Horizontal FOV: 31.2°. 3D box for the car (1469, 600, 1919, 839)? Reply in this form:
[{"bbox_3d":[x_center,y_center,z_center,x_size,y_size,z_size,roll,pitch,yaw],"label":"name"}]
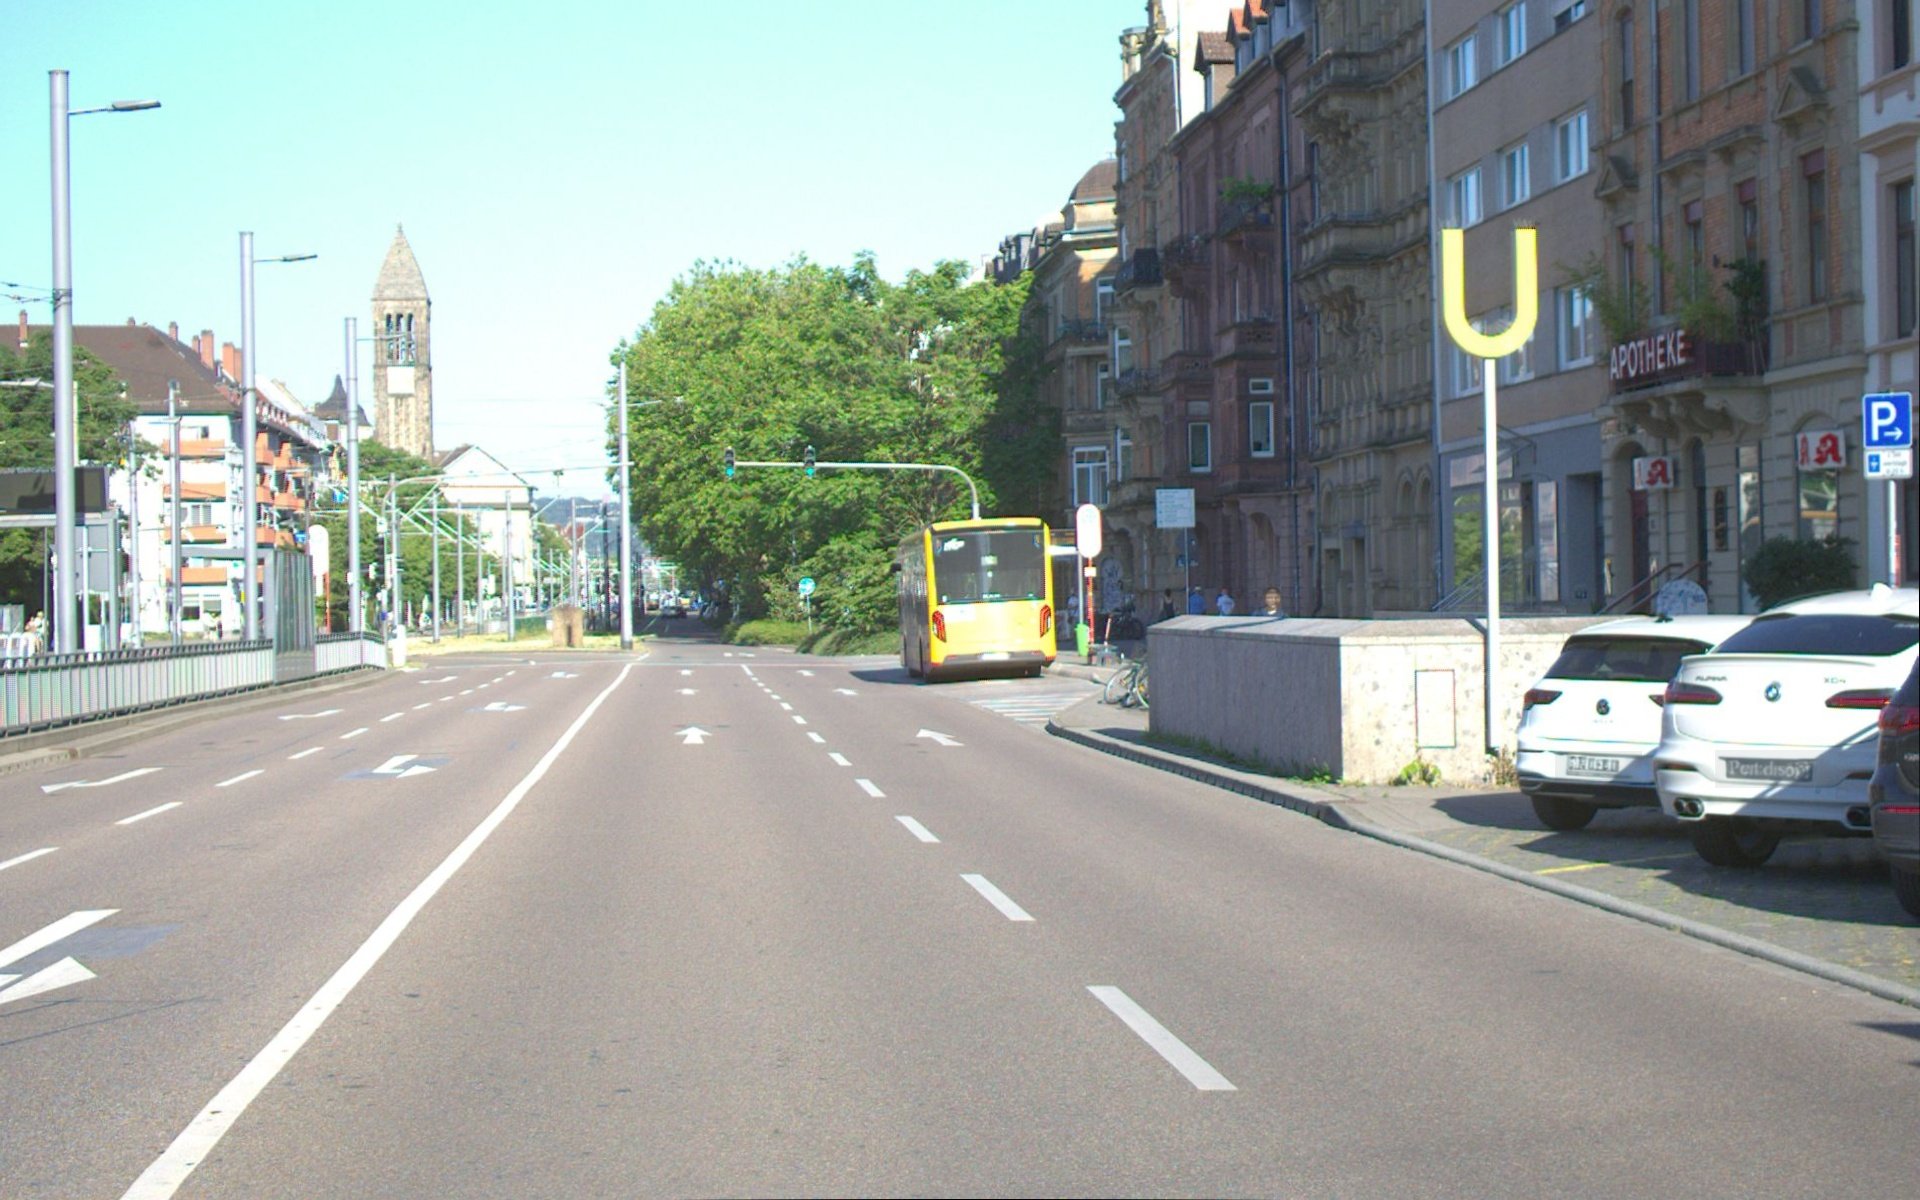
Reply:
[{"bbox_3d":[5.550,0.757,23.798,1.960,1.459,4.102,-1,0,44],"label":"car"}]

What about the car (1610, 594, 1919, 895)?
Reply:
[{"bbox_3d":[5.769,0.754,20.141,1.959,1.565,4.241,0,0,42],"label":"car"}]

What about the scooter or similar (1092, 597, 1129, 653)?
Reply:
[{"bbox_3d":[3.457,0.575,79.121,0.431,1.245,1.295,-3,-1,-14],"label":"scooter or similar"}]

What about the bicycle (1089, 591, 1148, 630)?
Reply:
[{"bbox_3d":[5.364,0.347,116.243,1.883,1.234,0.490,-2,-1,-17],"label":"bicycle"}]

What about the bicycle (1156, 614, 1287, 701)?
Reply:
[{"bbox_3d":[3.656,0.803,48.112,1.764,1.183,0.470,0,1,-5],"label":"bicycle"}]

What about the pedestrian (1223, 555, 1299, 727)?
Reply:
[{"bbox_3d":[3.622,0.487,41.391,0.750,2.006,0.698,-2,3,-4],"label":"pedestrian"}]

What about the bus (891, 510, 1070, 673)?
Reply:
[{"bbox_3d":[0.280,-0.186,74.917,2.714,3.170,12.543,-2,0,-5],"label":"bus"}]

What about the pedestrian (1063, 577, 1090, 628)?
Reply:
[{"bbox_3d":[3.795,0.075,112.101,0.702,1.650,1.137,-1,0,-5],"label":"pedestrian"}]

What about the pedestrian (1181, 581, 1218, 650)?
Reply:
[{"bbox_3d":[6.774,0.434,97.234,0.822,1.923,1.137,-1,0,-5],"label":"pedestrian"}]

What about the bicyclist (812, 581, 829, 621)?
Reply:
[{"bbox_3d":[-6.527,0.043,160.868,0.641,1.808,1.052,-2,-1,-5],"label":"bicyclist"}]

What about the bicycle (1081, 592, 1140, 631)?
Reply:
[{"bbox_3d":[5.108,0.388,116.763,1.883,1.234,0.490,-2,-1,-17],"label":"bicycle"}]

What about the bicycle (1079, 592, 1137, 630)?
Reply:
[{"bbox_3d":[5.091,0.370,117.971,1.883,1.234,0.490,-2,-1,-17],"label":"bicycle"}]

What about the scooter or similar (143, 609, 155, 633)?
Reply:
[{"bbox_3d":[-46.256,1.187,196.015,0.401,1.257,1.231,-2,3,-4],"label":"scooter or similar"}]

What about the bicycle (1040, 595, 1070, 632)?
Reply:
[{"bbox_3d":[3.328,0.483,120.554,0.489,1.234,1.890,-2,-1,-14],"label":"bicycle"}]

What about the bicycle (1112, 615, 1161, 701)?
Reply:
[{"bbox_3d":[2.482,0.803,48.471,0.468,1.143,1.771,0,1,-4],"label":"bicycle"}]

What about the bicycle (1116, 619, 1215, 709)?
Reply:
[{"bbox_3d":[2.731,0.840,45.777,0.468,1.143,1.771,-1,1,-28],"label":"bicycle"}]

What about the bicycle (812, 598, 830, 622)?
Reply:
[{"bbox_3d":[-6.507,0.468,160.815,0.641,1.044,2.360,-2,-1,-5],"label":"bicycle"}]

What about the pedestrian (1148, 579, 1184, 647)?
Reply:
[{"bbox_3d":[5.922,0.374,98.899,0.822,1.923,1.137,-1,0,-5],"label":"pedestrian"}]

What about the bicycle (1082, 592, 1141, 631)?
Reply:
[{"bbox_3d":[5.172,0.399,117.387,1.883,1.234,0.490,-2,-1,-17],"label":"bicycle"}]

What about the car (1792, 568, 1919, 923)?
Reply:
[{"bbox_3d":[5.986,0.654,16.754,1.959,1.592,4.240,0,0,42],"label":"car"}]
